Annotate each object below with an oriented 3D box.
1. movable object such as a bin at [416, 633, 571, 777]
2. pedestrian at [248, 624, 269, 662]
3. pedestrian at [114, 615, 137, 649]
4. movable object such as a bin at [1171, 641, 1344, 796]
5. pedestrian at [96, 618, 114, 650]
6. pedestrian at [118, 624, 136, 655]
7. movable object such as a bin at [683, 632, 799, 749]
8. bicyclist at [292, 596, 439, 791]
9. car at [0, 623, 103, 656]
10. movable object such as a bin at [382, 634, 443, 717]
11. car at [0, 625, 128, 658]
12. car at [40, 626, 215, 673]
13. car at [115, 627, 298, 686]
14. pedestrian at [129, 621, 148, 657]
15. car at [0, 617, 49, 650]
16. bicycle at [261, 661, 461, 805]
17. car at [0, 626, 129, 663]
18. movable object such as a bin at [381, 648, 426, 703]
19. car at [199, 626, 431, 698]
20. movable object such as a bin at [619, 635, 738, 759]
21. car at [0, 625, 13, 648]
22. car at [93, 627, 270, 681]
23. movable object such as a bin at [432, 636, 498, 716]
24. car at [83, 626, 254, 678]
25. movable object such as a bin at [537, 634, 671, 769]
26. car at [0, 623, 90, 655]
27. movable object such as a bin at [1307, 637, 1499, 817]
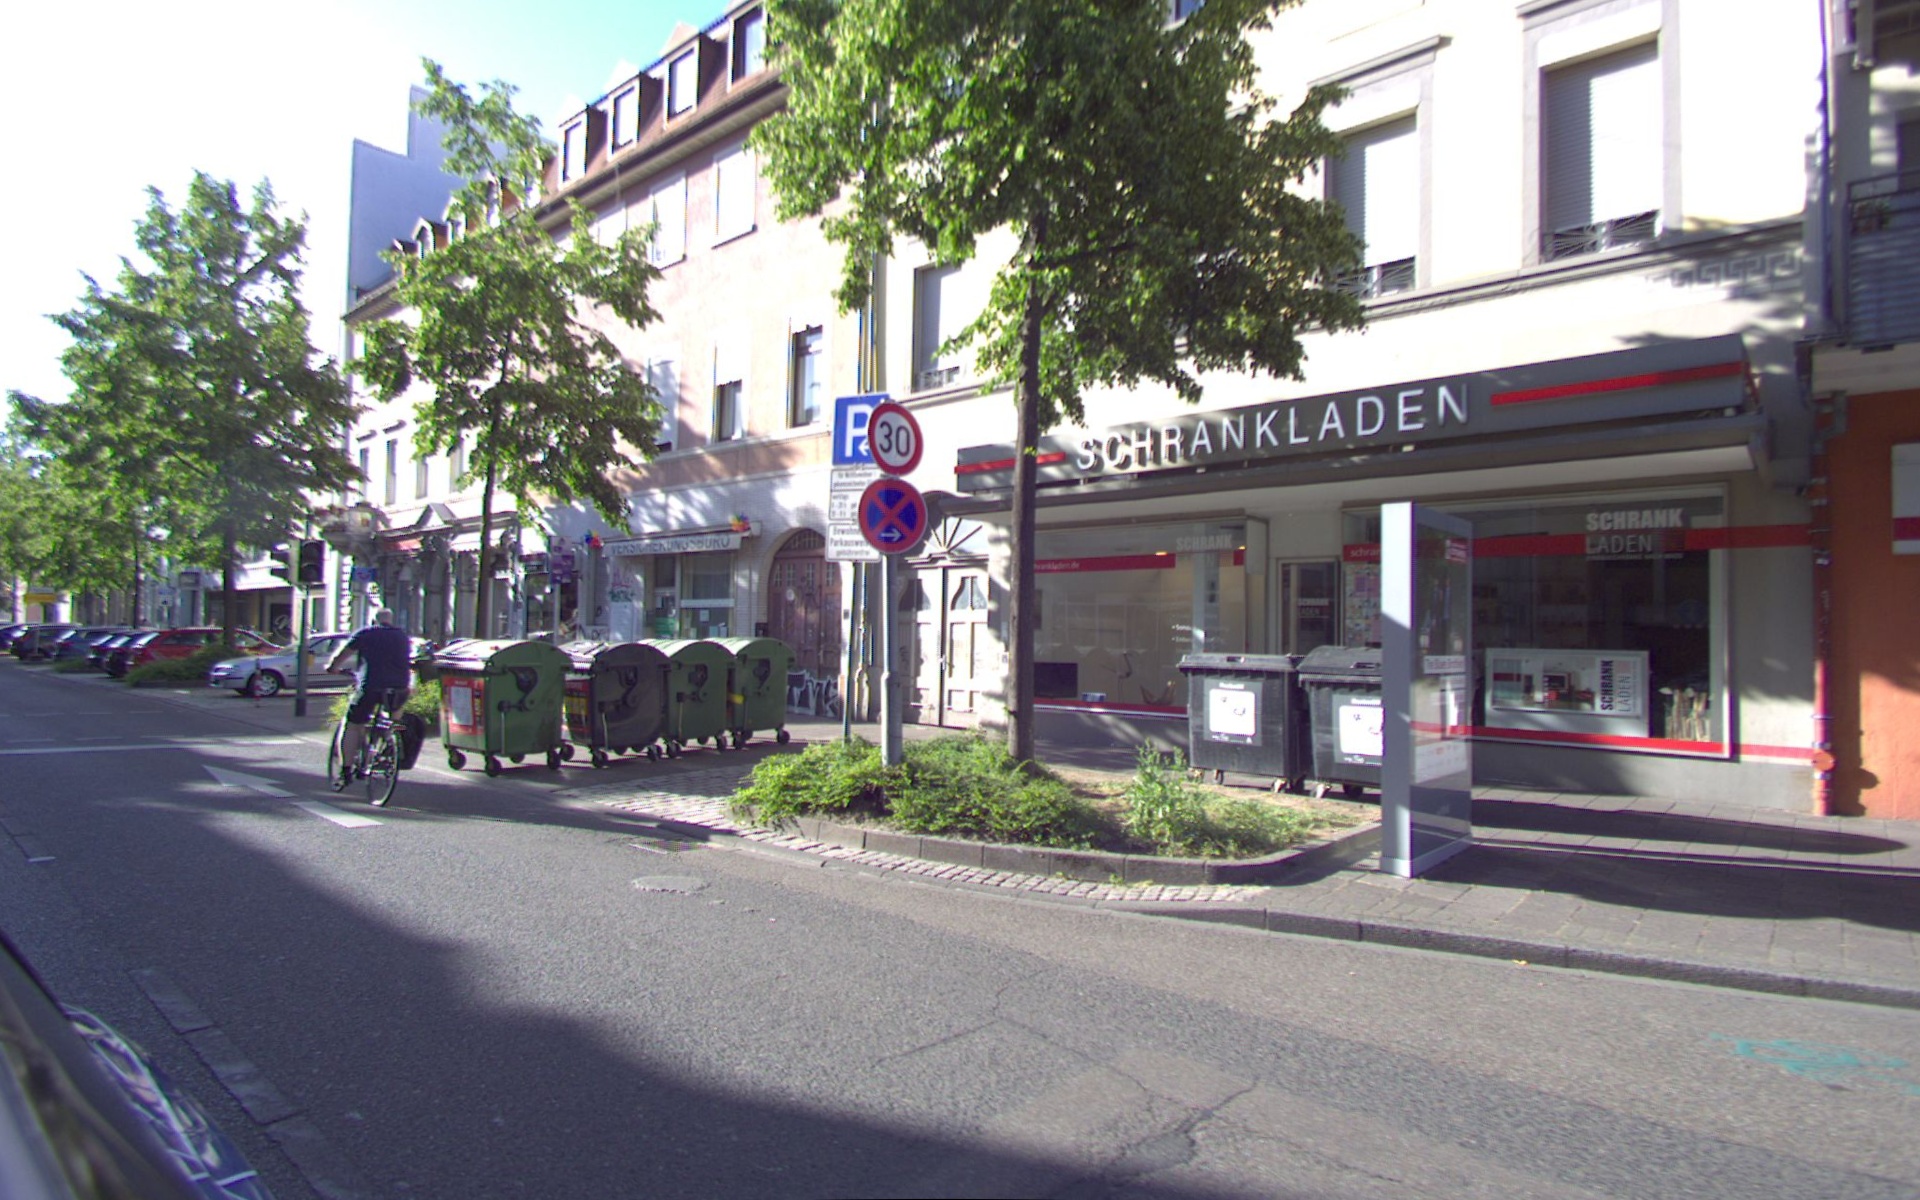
[{"bbox_3d":[-5.245,1.129,11.374,1.451,1.483,1.031,-1,-3,40],"label":"movable object such as a bin"},{"bbox_3d":[-27.052,1.659,39.019,0.502,1.419,0.825,1,-3,-44],"label":"pedestrian"},{"bbox_3d":[-44.934,1.715,54.516,0.762,1.779,0.767,-1,1,39],"label":"pedestrian"},{"bbox_3d":[2.883,1.090,9.813,1.313,1.355,1.031,-1,-3,40],"label":"movable object such as a bin"},{"bbox_3d":[-45.486,1.815,53.829,0.726,1.639,0.559,-1,1,39],"label":"pedestrian"},{"bbox_3d":[-41.075,1.932,49.894,0.842,1.505,0.586,-2,-1,43],"label":"pedestrian"},{"bbox_3d":[-2.966,1.188,13.707,1.142,1.483,1.031,-1,-3,40],"label":"movable object such as a bin"},{"bbox_3d":[-5.429,0.815,9.245,1.032,1.665,0.691,-1,-3,31],"label":"bicyclist"},{"bbox_3d":[-45.670,1.982,50.408,1.979,1.582,4.320,-1,-3,41],"label":"car"},{"bbox_3d":[-9.268,1.269,17.134,0.804,1.351,0.628,-1,-3,40],"label":"movable object such as a bin"},{"bbox_3d":[-42.000,1.941,47.514,1.977,1.470,4.205,-1,-3,37],"label":"car"},{"bbox_3d":[-29.037,1.673,35.422,1.788,1.470,4.449,-1,-1,39],"label":"car"},{"bbox_3d":[-20.498,1.490,27.628,1.738,1.479,3.709,-1,-2,41],"label":"car"},{"bbox_3d":[-42.249,1.994,52.065,0.690,1.811,0.747,2,-3,-37],"label":"pedestrian"},{"bbox_3d":[-54.641,1.907,57.527,2.038,1.850,4.062,-2,-2,41],"label":"car"},{"bbox_3d":[-5.521,1.160,9.294,1.960,1.155,0.700,0,-3,31],"label":"bicycle"},{"bbox_3d":[-37.417,1.830,42.349,1.778,1.470,3.744,-1,-3,38],"label":"car"},{"bbox_3d":[-11.267,1.518,20.484,0.804,1.077,0.525,-1,-3,40],"label":"movable object such as a bin"},{"bbox_3d":[-14.588,1.354,23.057,1.740,1.479,4.156,-2,-2,43],"label":"car"},{"bbox_3d":[-3.584,1.195,12.882,1.142,1.483,0.954,-1,-3,40],"label":"movable object such as a bin"},{"bbox_3d":[-64.365,2.396,65.907,1.708,1.475,3.741,-1,-2,38],"label":"car"},{"bbox_3d":[-22.443,1.519,29.279,1.789,1.440,3.799,-2,-2,42],"label":"car"},{"bbox_3d":[-8.693,1.315,17.772,0.804,1.351,0.747,-1,-3,40],"label":"movable object such as a bin"},{"bbox_3d":[-24.210,1.554,31.056,1.770,1.497,3.876,-2,-2,42],"label":"car"},{"bbox_3d":[-4.214,1.158,11.994,1.142,1.483,1.031,-1,-3,40],"label":"movable object such as a bin"},{"bbox_3d":[-47.637,2.016,51.937,1.945,1.582,4.320,-1,-3,41],"label":"car"},{"bbox_3d":[3.896,1.053,8.916,1.313,1.415,1.031,-1,-3,40],"label":"movable object such as a bin"}]
